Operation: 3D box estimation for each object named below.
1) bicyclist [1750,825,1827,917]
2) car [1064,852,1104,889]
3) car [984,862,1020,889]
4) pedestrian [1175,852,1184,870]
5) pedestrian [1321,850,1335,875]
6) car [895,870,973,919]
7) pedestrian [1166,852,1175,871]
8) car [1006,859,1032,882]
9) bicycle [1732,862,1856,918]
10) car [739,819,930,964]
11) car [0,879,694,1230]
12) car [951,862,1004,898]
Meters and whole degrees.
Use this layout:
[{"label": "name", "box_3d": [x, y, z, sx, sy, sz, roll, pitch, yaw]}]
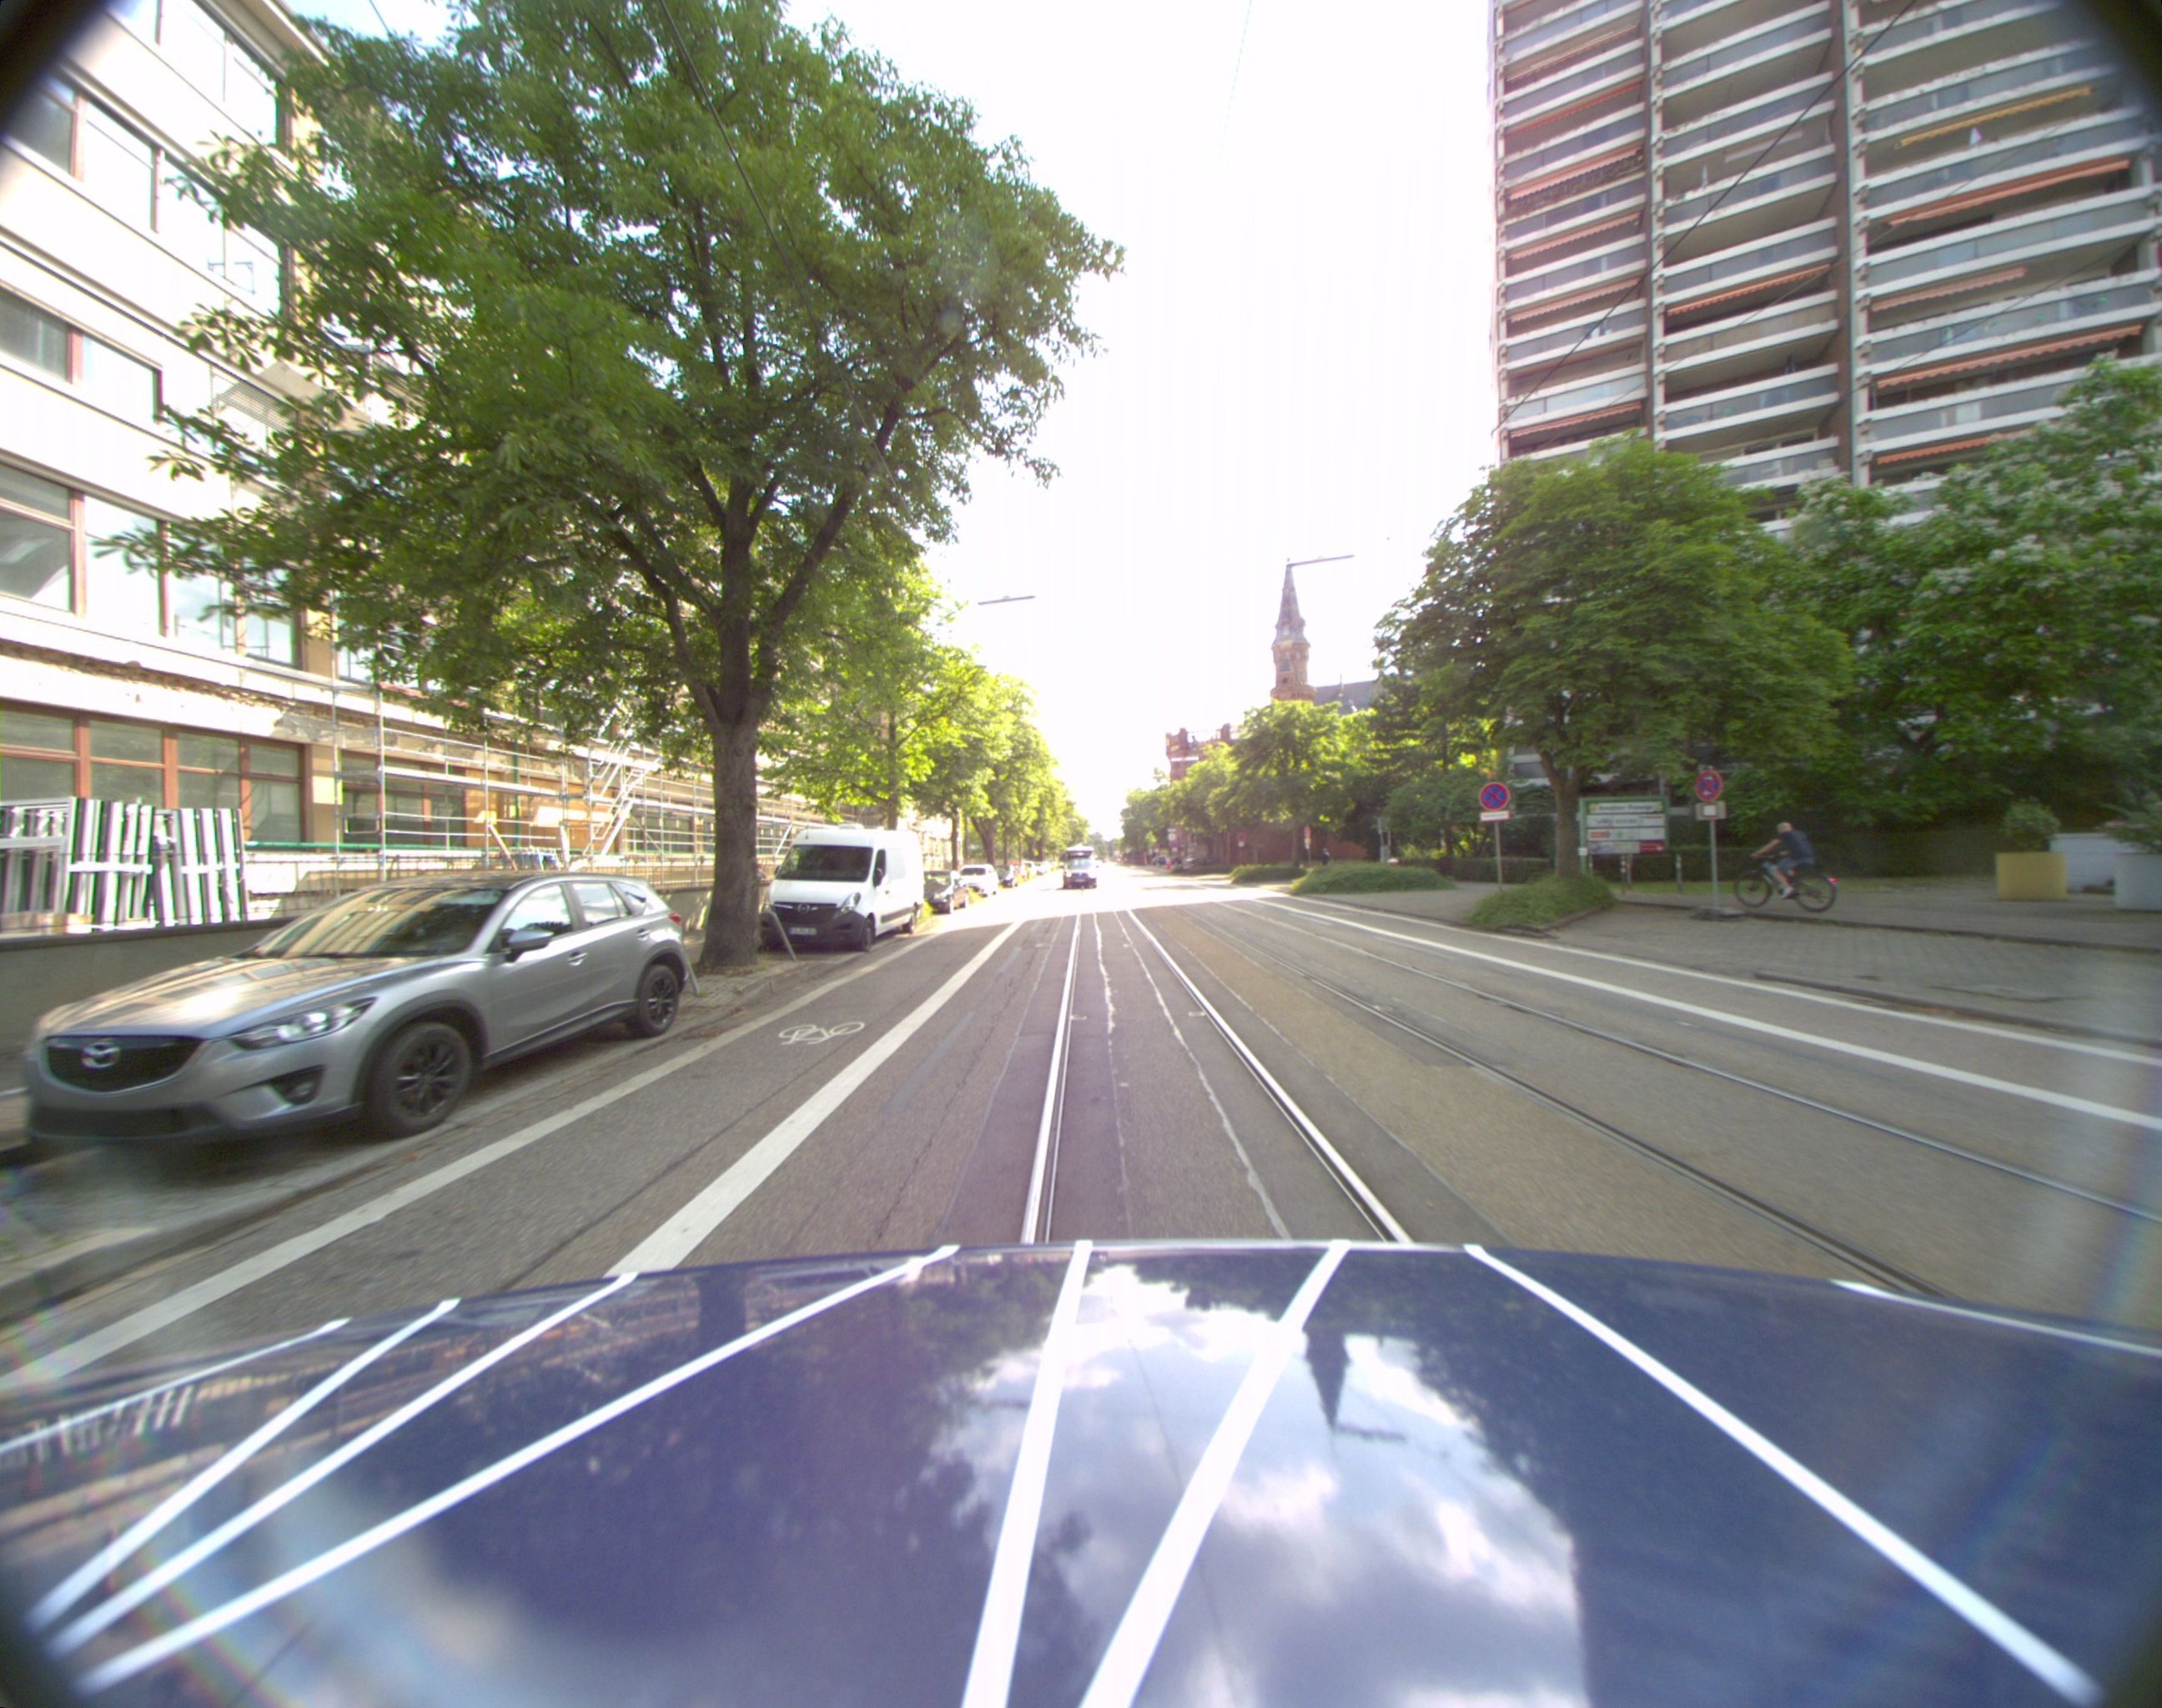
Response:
[{"label": "bicyclist", "box_3d": [13.805, 0.320, 14.848, 0.725, 1.730, 0.781, -2, 1, 1]}, {"label": "car", "box_3d": [0.118, 0.837, 40.492, 1.945, 1.763, 4.837, -2, 0, 0]}, {"label": "car", "box_3d": [-4.710, 1.277, 45.818, 1.737, 1.390, 3.630, -2, 1, 1]}, {"label": "pedestrian", "box_3d": [11.088, 0.826, 85.722, 0.904, 2.002, 1.057, -2, 1, 5]}, {"label": "pedestrian", "box_3d": [16.772, 0.567, 51.688, 0.764, 1.620, 0.738, -2, 1, 10]}, {"label": "car", "box_3d": [-4.902, 1.295, 25.970, 1.739, 1.364, 4.507, 1, 1, 1]}, {"label": "pedestrian", "box_3d": [10.113, 0.846, 85.745, 0.904, 2.002, 1.057, -2, 1, 4]}, {"label": "car", "box_3d": [-4.577, 1.216, 56.732, 1.532, 1.565, 3.647, -2, 1, 1]}, {"label": "bicycle", "box_3d": [13.904, 0.673, 14.905, 0.568, 0.974, 1.983, -2, 1, 1]}, {"label": "car", "box_3d": [-5.020, 0.652, 16.586, 2.128, 2.552, 5.919, 1, 1, 1]}, {"label": "car", "box_3d": [-5.071, 1.055, 5.925, 1.769, 1.597, 4.459, -1, -1, 1]}, {"label": "car", "box_3d": [-4.772, 1.175, 35.573, 1.568, 1.448, 3.896, -2, 1, 5]}]
